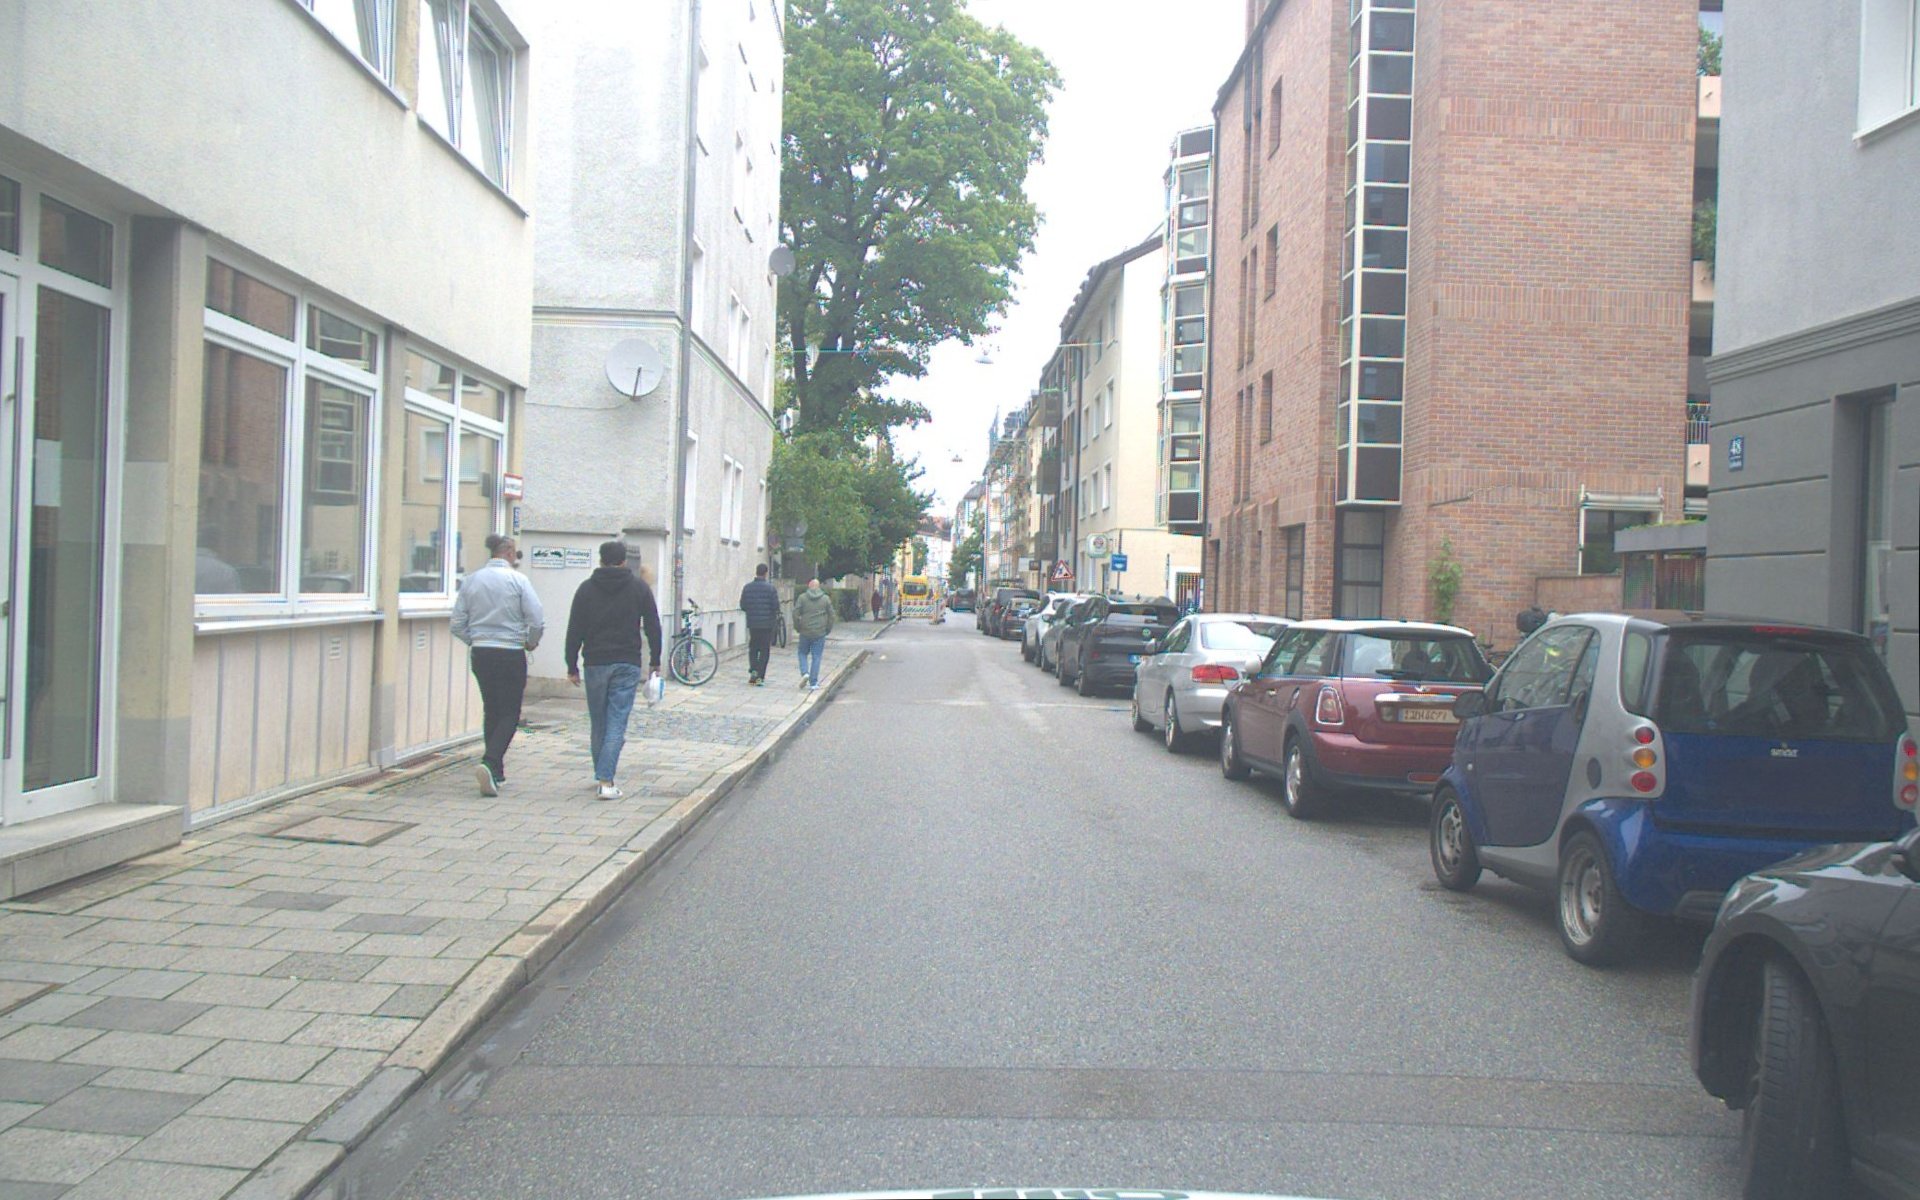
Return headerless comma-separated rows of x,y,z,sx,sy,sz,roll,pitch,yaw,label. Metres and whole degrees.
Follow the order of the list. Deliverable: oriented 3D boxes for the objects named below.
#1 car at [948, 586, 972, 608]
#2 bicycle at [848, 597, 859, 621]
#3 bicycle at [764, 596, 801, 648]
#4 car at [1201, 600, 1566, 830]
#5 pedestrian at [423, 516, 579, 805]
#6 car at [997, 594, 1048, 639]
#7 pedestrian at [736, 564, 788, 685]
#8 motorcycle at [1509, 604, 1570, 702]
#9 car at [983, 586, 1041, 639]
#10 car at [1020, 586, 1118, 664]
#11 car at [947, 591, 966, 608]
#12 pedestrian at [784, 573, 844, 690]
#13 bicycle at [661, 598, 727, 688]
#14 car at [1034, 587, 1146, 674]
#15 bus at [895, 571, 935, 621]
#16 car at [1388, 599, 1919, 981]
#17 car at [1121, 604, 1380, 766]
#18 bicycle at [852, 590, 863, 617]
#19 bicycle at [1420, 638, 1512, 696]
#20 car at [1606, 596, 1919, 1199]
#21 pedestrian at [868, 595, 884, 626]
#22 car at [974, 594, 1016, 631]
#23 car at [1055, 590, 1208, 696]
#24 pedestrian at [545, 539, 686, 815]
-0.013,-0.277,141.920,1.766,1.741,3.824,5,0,-3,car
-5.006,0.432,77.879,0.437,1.092,2.466,1,0,-3,bicycle
-4.145,0.502,38.480,0.465,1.130,1.751,2,0,-18,bicycle
3.197,0.789,13.366,1.710,1.487,4.148,2,0,-2,car
-3.078,0.393,11.164,0.704,1.828,0.916,3,-1,-1,pedestrian
2.243,0.565,59.919,1.592,1.513,3.807,2,0,-1,car
-2.972,0.365,24.834,0.600,1.743,0.823,3,-1,-2,pedestrian
8.453,0.746,24.191,0.528,1.368,1.942,1,0,10,motorcycle
1.994,0.449,64.274,1.766,1.851,3.997,5,0,-3,car
2.443,0.533,38.052,1.714,1.658,4.194,1,0,-3,car
-0.367,-0.022,170.310,1.764,1.642,3.999,2,0,-1,car
-2.195,0.471,24.976,0.738,1.688,0.906,4,-1,-1,pedestrian
-3.857,0.601,23.875,0.632,1.239,1.655,1,0,-20,bicycle
2.591,0.598,33.777,1.687,1.664,3.878,1,0,-4,car
-2.961,-0.247,109.818,2.540,3.156,6.304,1,0,-1,bus
3.435,0.797,8.504,1.491,1.538,3.201,2,0,-2,car
2.979,0.814,17.961,1.799,1.442,4.599,2,0,-2,car
-5.613,0.206,90.670,0.504,1.442,1.933,1,0,-1,bicycle
7.838,1.033,25.648,1.289,0.874,0.413,1,-1,-1,bicycle
2.988,0.811,2.975,1.803,1.555,4.291,2,0,-2,car
-4.180,0.531,82.169,0.740,1.517,0.831,1,-1,-1,pedestrian
1.591,0.561,76.148,1.603,1.541,3.828,5,0,-2,car
2.784,0.654,27.805,1.848,1.582,4.389,2,0,-3,car
-2.354,0.512,11.385,0.704,1.796,0.838,3,-1,-1,pedestrian
